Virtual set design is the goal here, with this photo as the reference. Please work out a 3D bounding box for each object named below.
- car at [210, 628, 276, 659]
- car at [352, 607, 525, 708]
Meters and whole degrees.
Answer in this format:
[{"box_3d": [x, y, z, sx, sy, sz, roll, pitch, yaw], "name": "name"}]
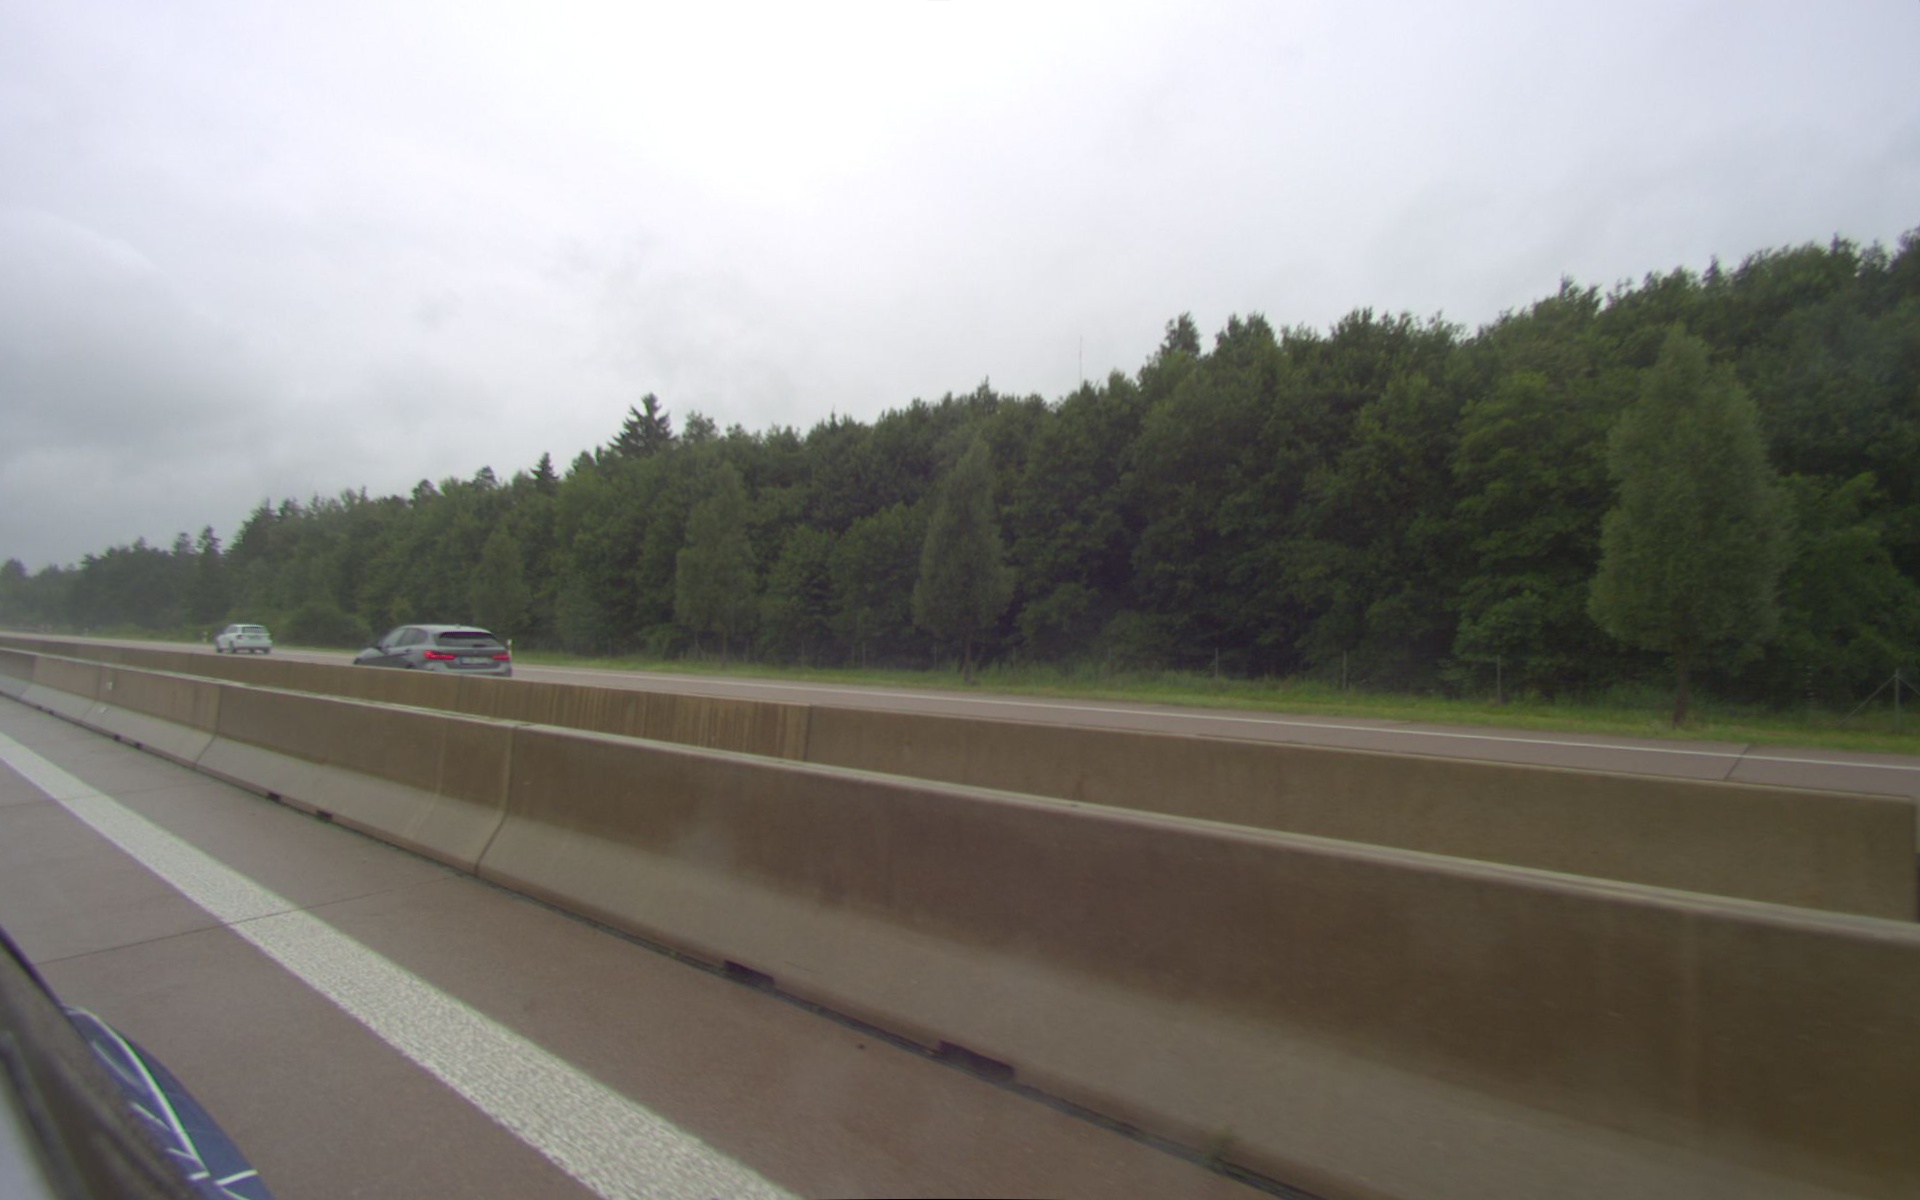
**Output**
[{"box_3d": [-36.936, 2.205, 52.091, 4.580, 1.491, 1.735, -1, -2, 41], "name": "car"}, {"box_3d": [-10.423, 1.085, 20.129, 3.875, 1.810, 1.770, -1, -3, 42], "name": "car"}]
